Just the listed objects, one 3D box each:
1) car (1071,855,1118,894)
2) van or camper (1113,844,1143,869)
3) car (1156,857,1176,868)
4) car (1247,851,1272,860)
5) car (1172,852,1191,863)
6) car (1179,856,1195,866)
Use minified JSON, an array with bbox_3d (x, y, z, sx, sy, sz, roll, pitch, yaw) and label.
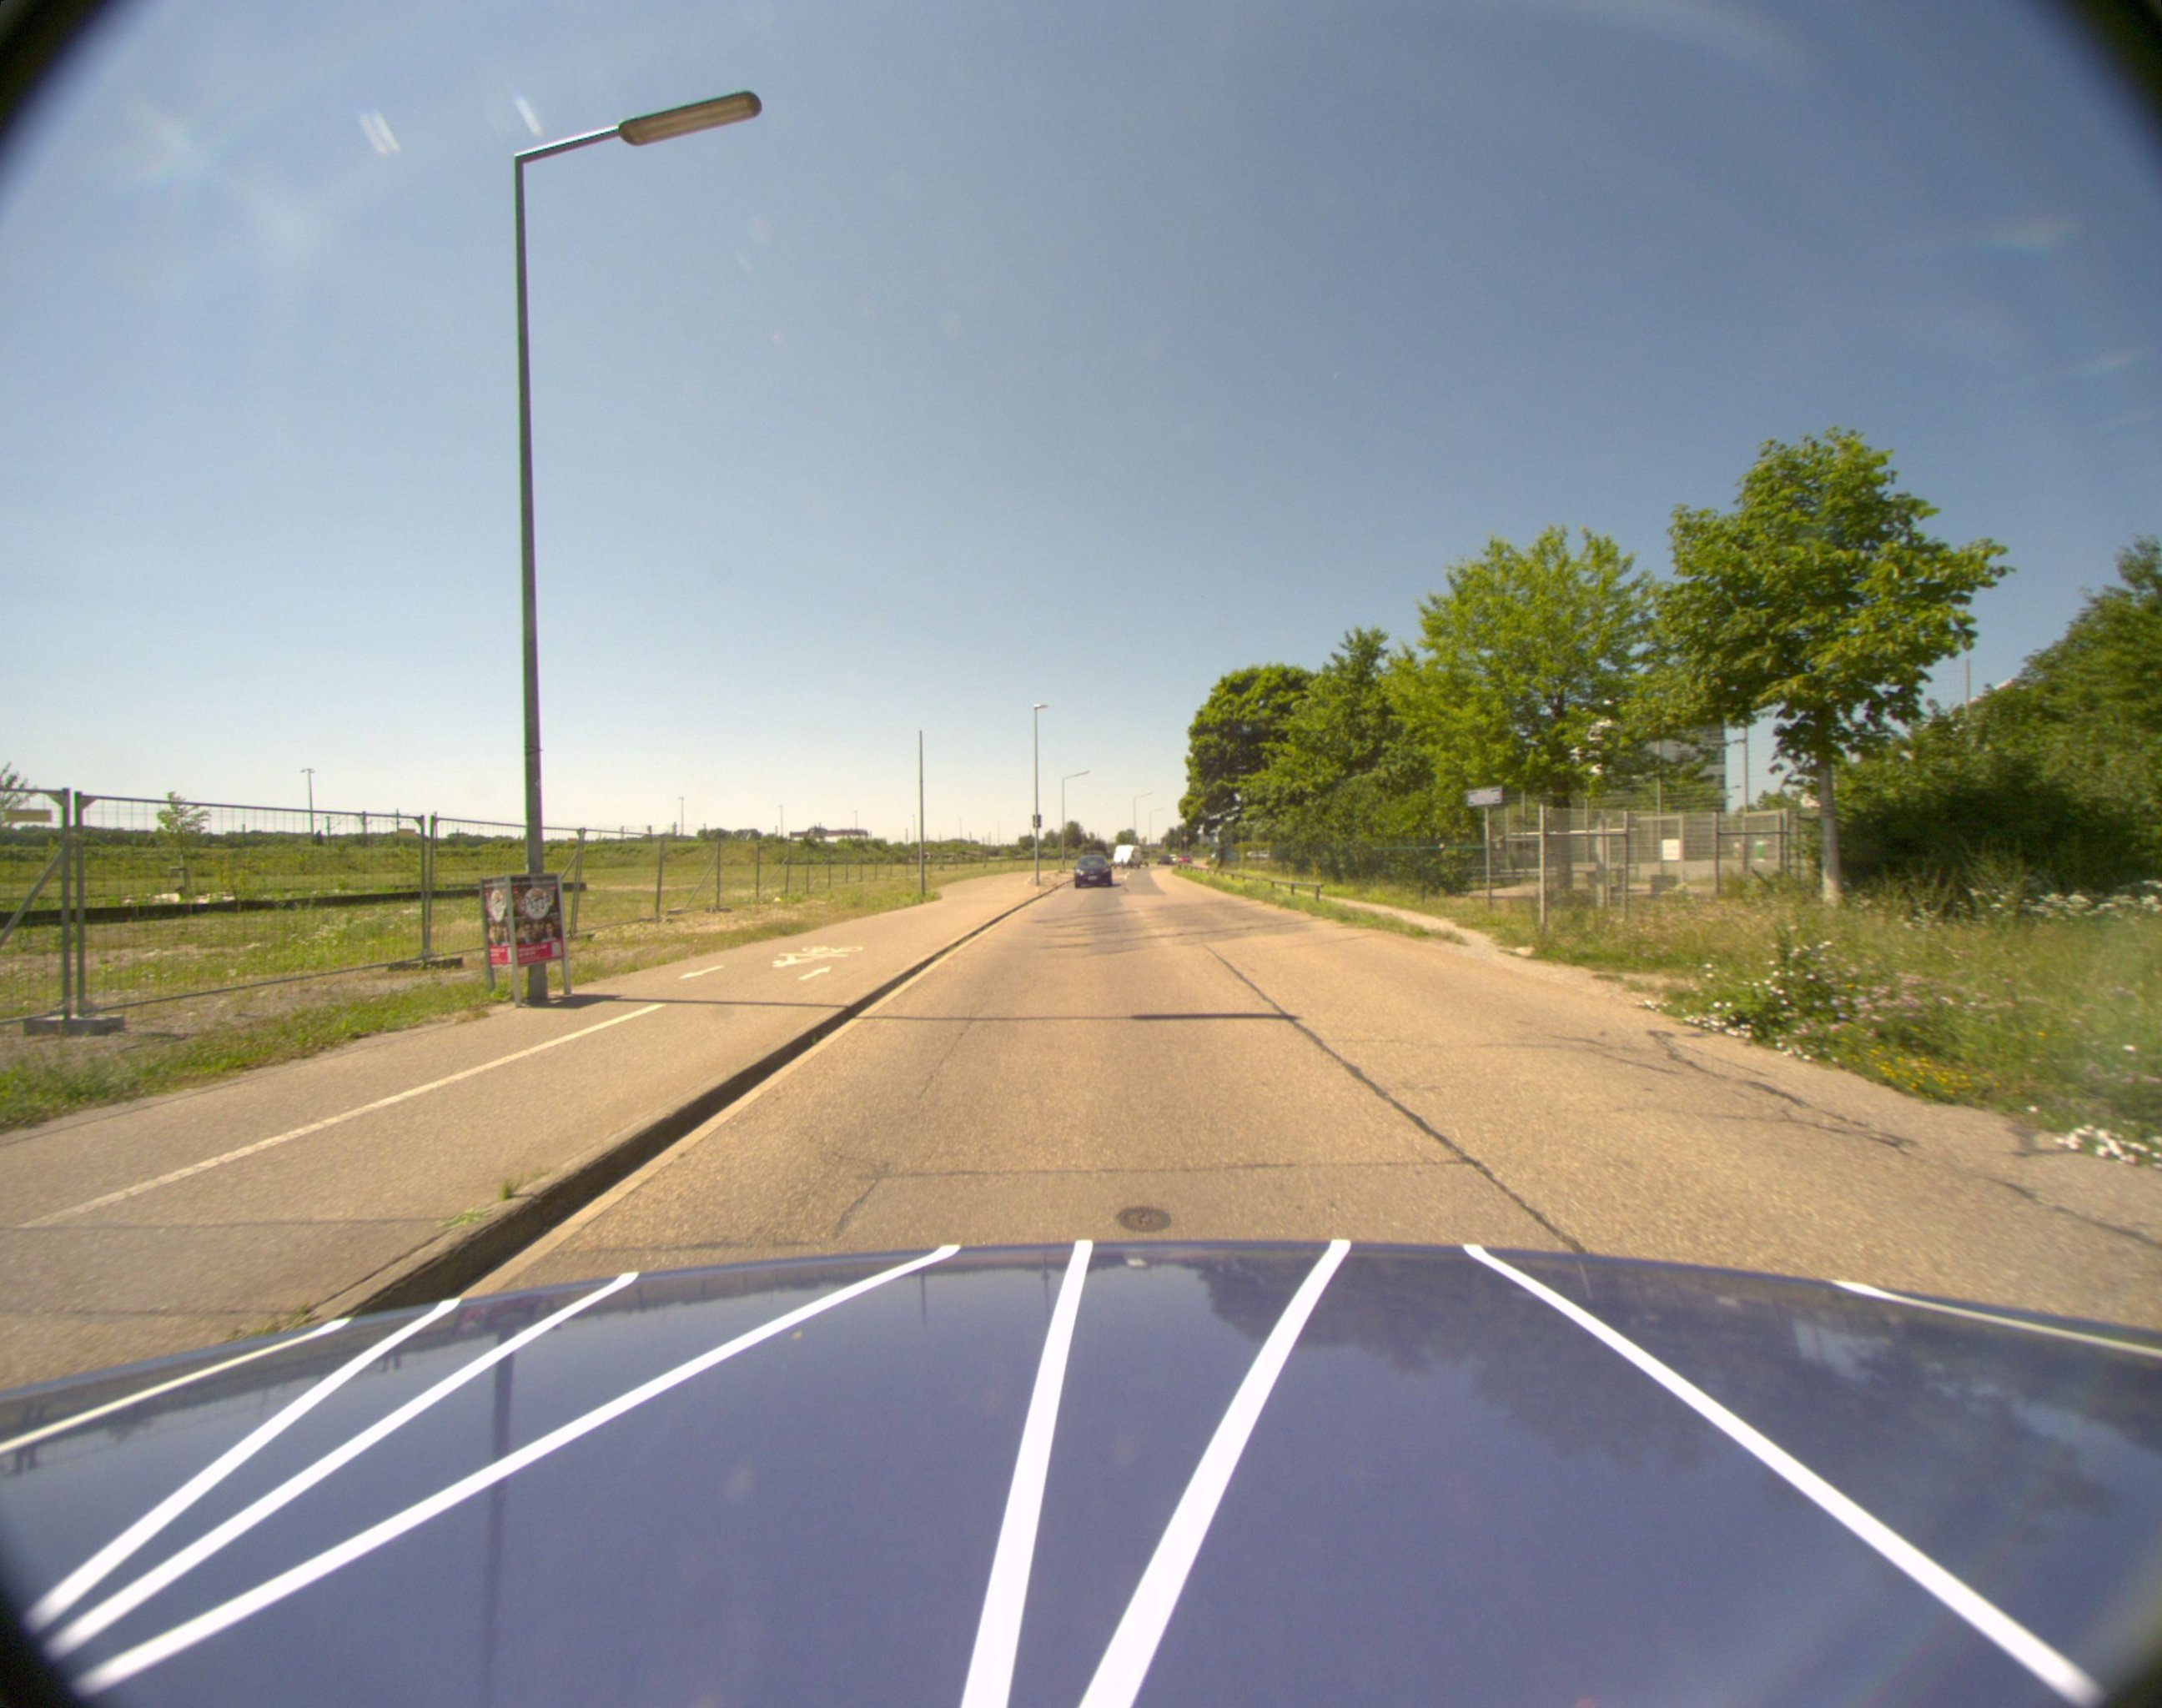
[{"bbox_3d":[0.650,0.851,33.430,1.653,1.458,4.161,-6,0,5],"label":"car"},{"bbox_3d":[5.293,0.267,84.377,2.139,2.558,5.873,-1,0,14],"label":"van or camper"},{"bbox_3d":[11.831,1.202,105.648,1.651,1.458,3.872,-1,0,24],"label":"car"},{"bbox_3d":[31.976,0.300,136.144,3.991,1.543,1.626,-1,0,21],"label":"car"},{"bbox_3d":[14.767,0.529,111.527,1.651,1.458,3.872,-1,0,25],"label":"car"},{"bbox_3d":[17.194,1.115,123.114,1.651,1.458,3.872,-1,0,22],"label":"car"}]
